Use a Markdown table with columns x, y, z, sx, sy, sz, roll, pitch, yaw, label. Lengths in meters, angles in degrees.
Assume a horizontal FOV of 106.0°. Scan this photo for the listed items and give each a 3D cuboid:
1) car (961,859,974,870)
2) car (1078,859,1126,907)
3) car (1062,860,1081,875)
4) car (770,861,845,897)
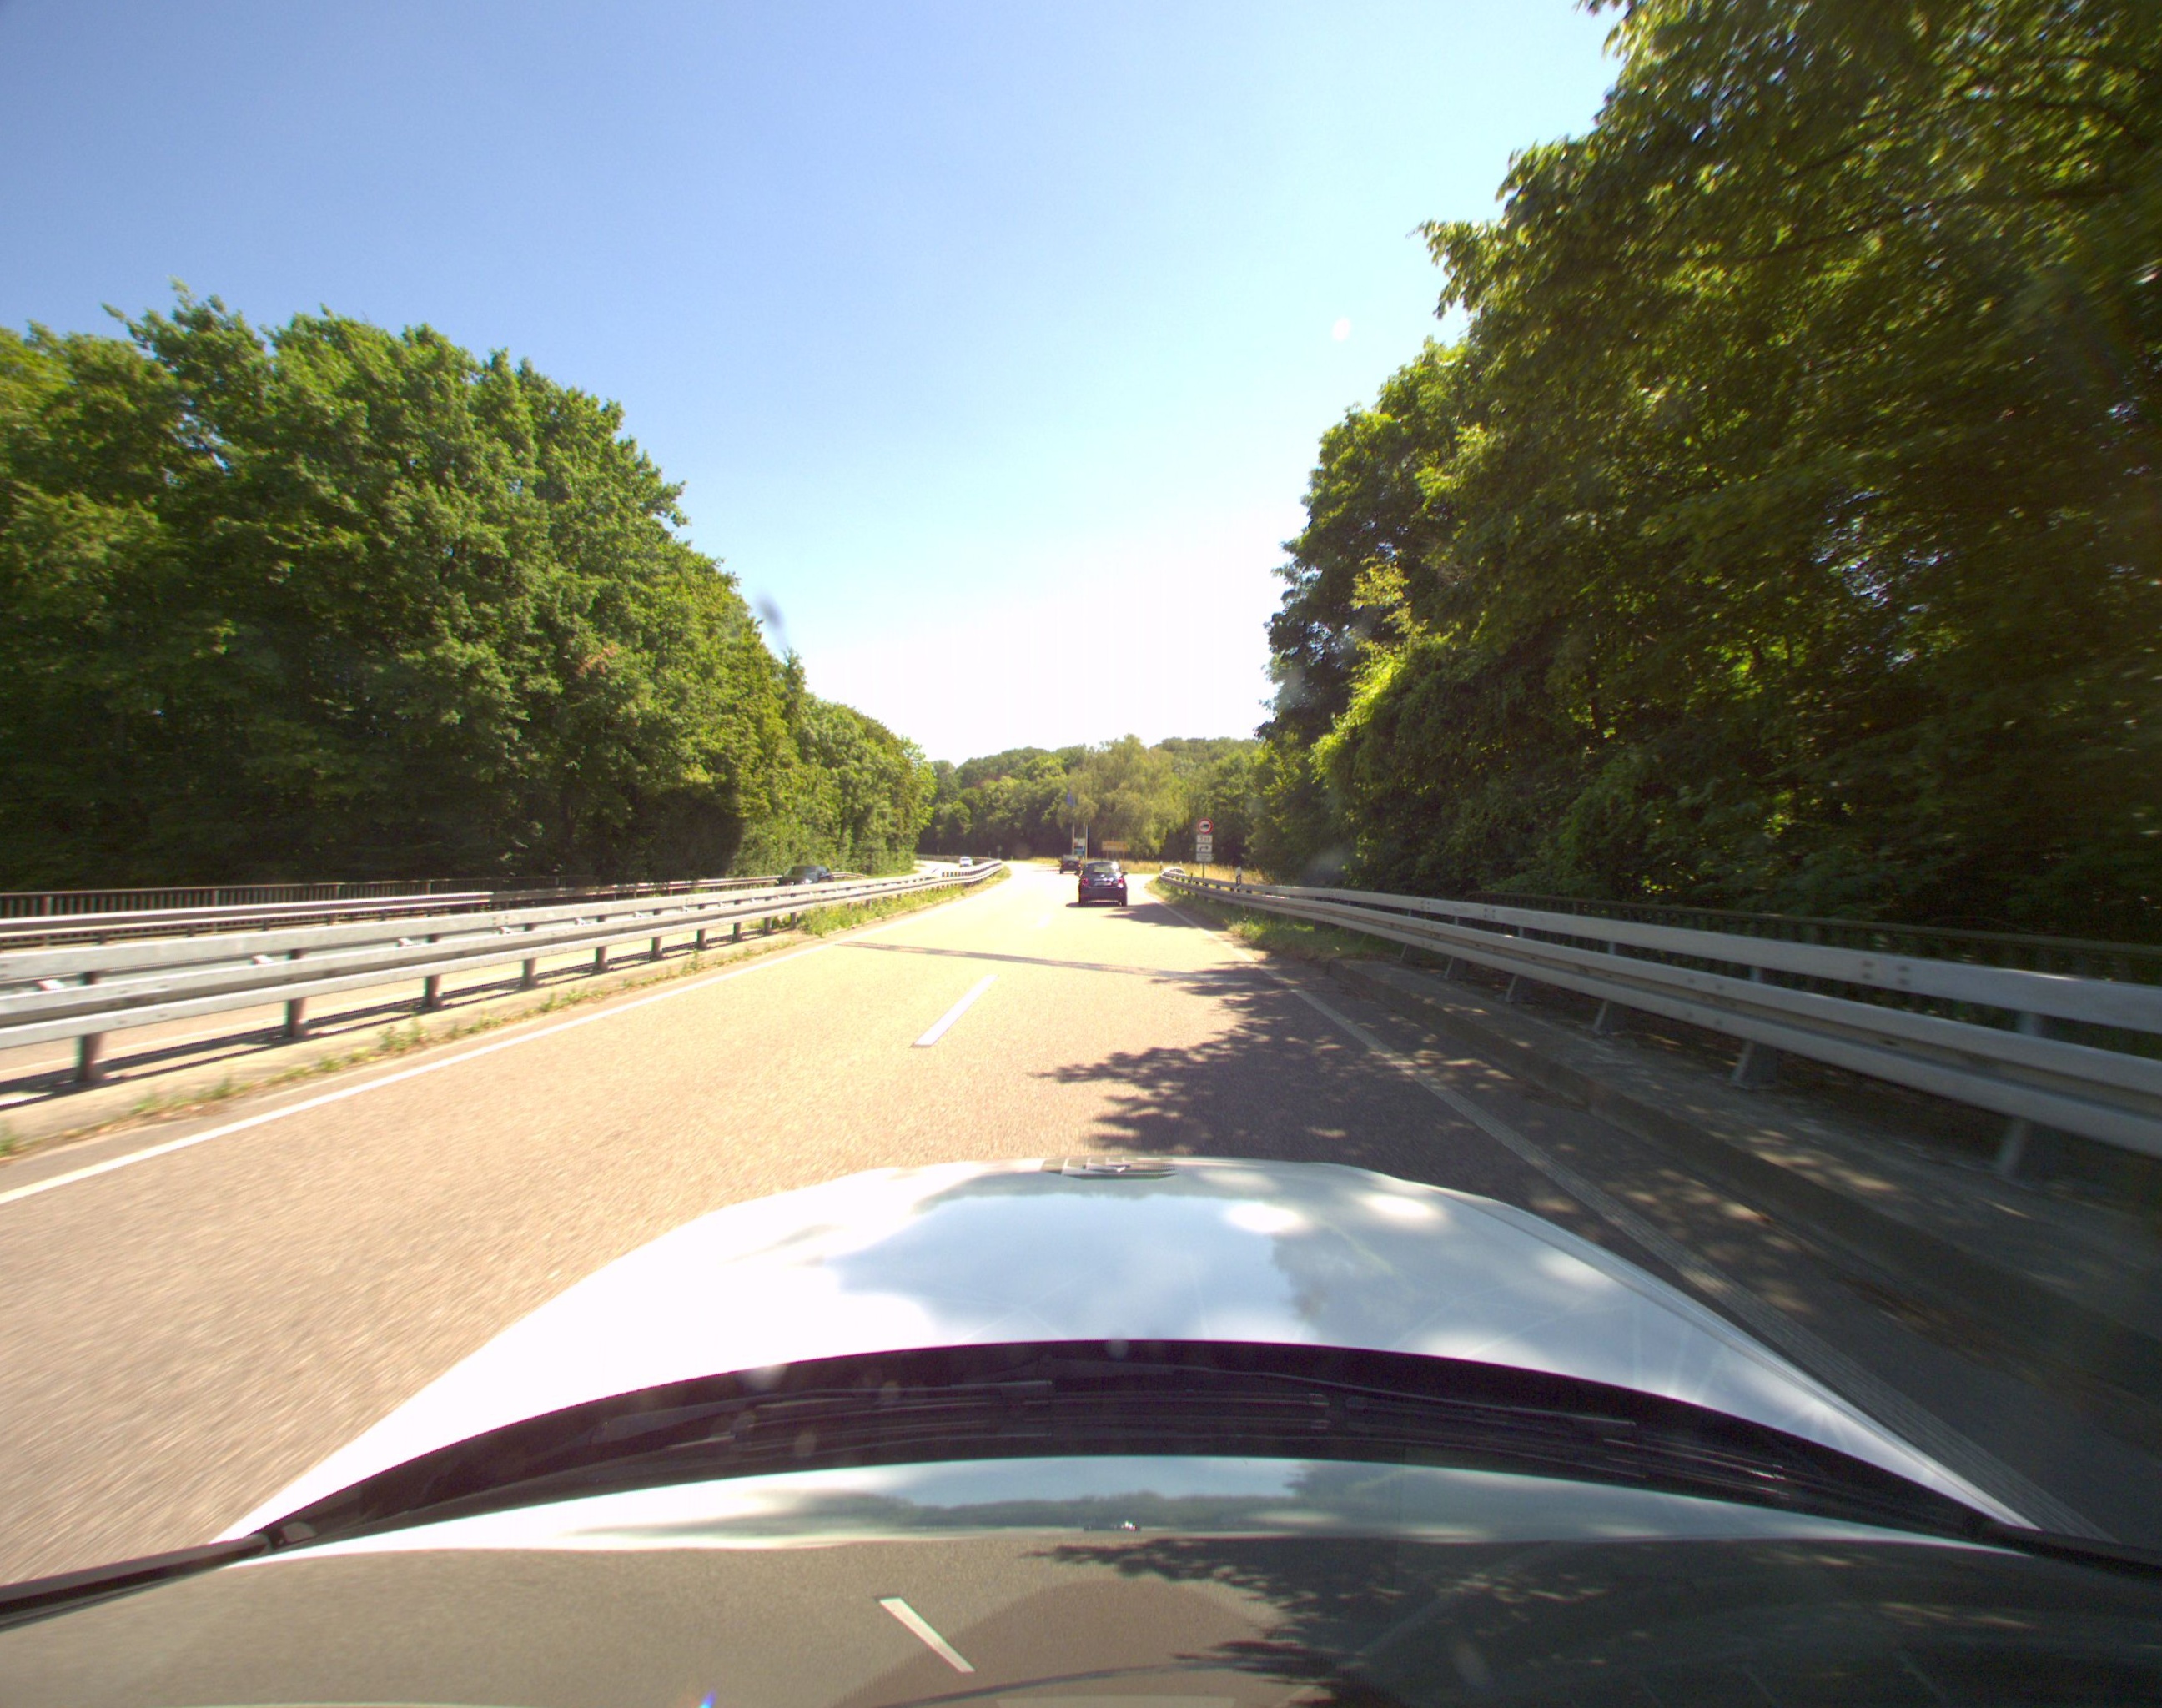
| x | y | z | sx | sy | sz | roll | pitch | yaw | label |
| --- | --- | --- | --- | --- | --- | --- | --- | --- | --- |
| -17.155 | 1.603 | 123.259 | 1.752 | 1.573 | 4.407 | -1 | 0 | -4 | car |
| 0.713 | 0.932 | 27.803 | 1.508 | 1.501 | 3.591 | -1 | 0 | 1 | car |
| -0.892 | 1.198 | 73.114 | 1.522 | 1.313 | 3.411 | -1 | 0 | -3 | car |
| -12.737 | 1.117 | 38.203 | 1.749 | 1.528 | 4.687 | -1 | 0 | 2 | car |
